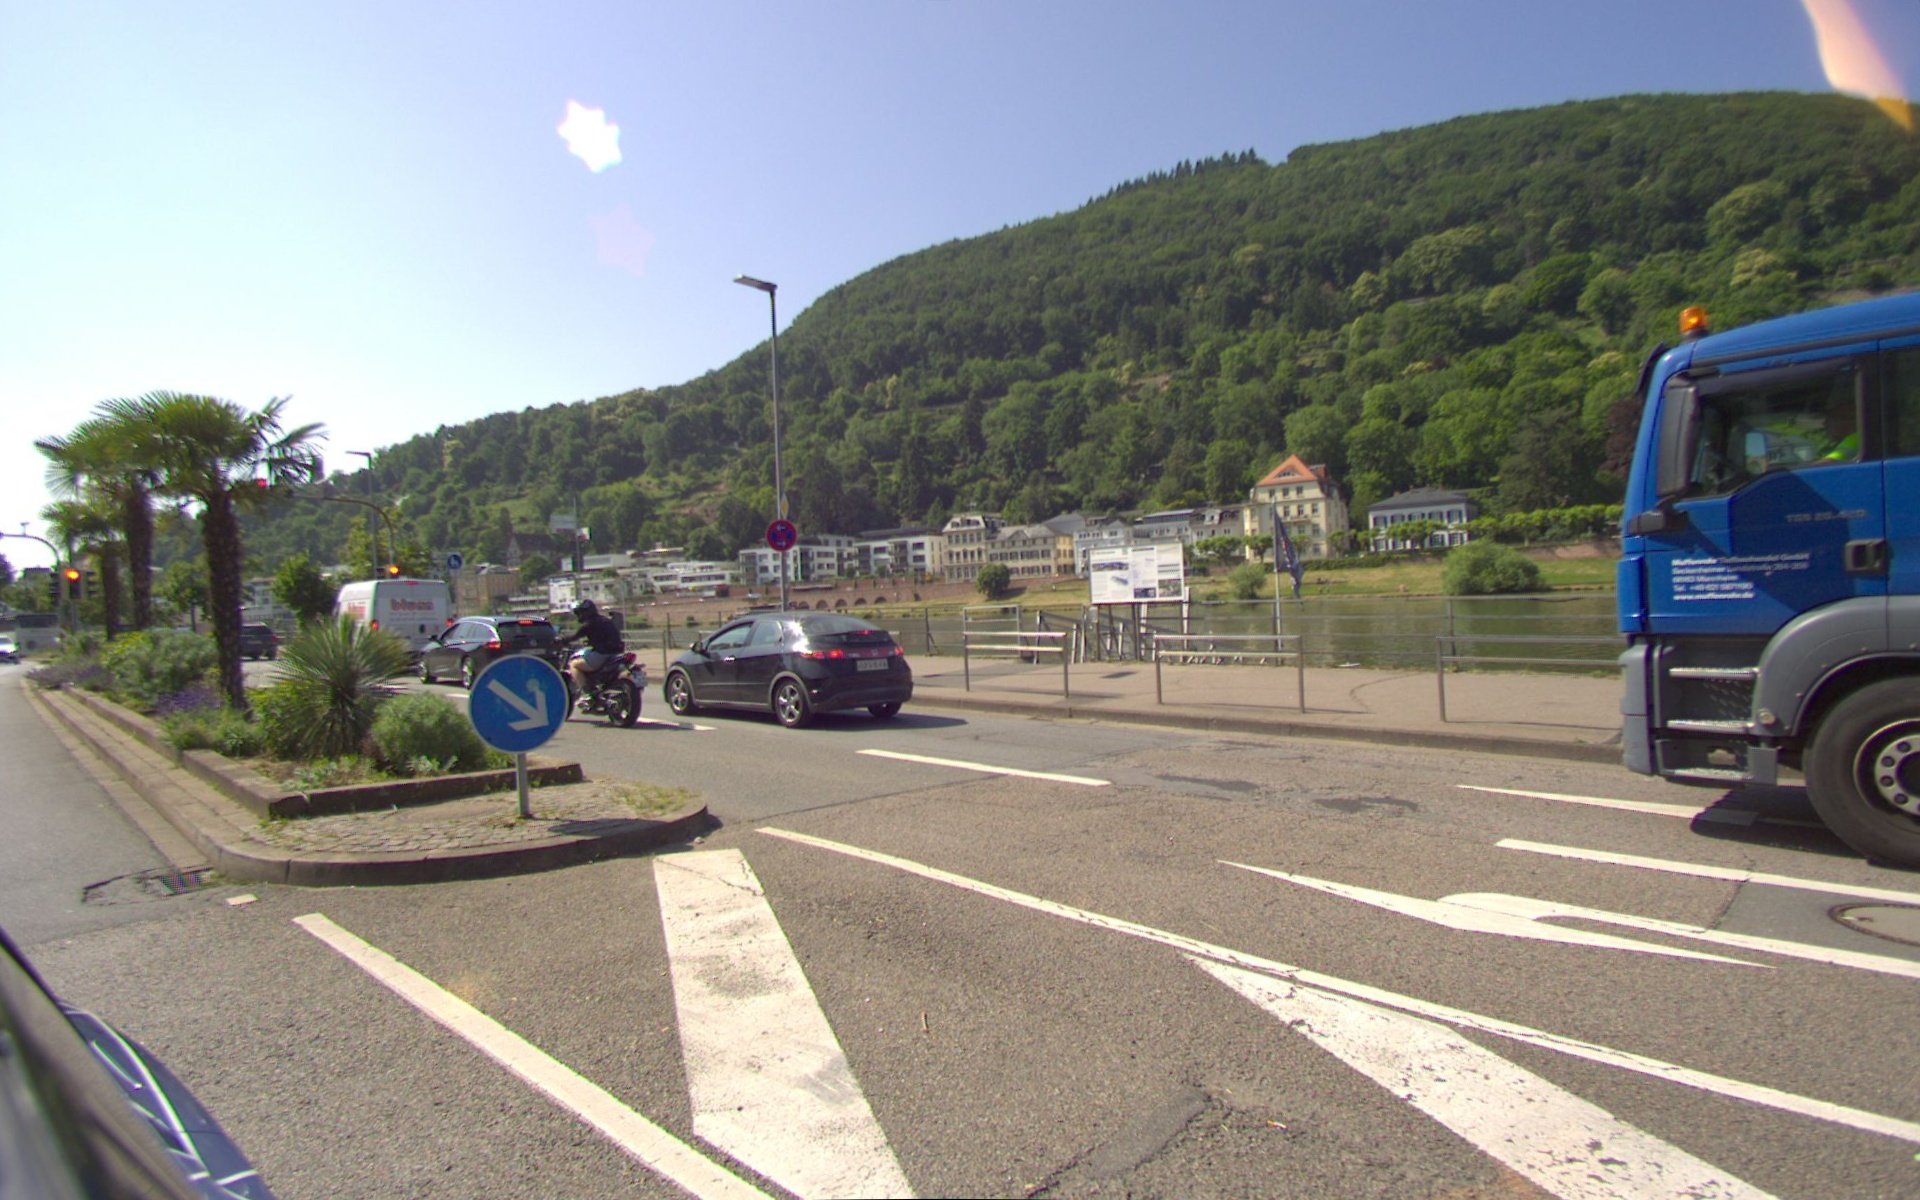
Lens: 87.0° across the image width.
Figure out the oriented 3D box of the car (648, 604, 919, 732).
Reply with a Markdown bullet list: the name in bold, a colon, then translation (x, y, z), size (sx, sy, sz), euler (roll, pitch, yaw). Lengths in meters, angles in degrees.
- **car**: translation (-2.528, 0.823, 13.829), size (1.638, 1.447, 4.084), euler (-2, 0, -44)

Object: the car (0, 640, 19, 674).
- **car**: translation (-45.910, 2.711, 47.857), size (1.970, 1.517, 4.595), euler (-2, -1, -44)

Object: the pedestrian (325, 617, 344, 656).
- **pedestrian**: translation (-28.252, 1.647, 45.722), size (0.503, 1.765, 0.585), euler (-2, -1, 42)

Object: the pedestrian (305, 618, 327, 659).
- **pedestrian**: translation (-28.691, 1.703, 45.075), size (0.780, 1.765, 0.585), euler (-2, -1, 42)

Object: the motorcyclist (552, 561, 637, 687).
- **motorcyclist**: translation (-4.646, 0.293, 12.859), size (0.693, 1.538, 0.862), euler (-2, 0, -44)

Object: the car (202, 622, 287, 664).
- **car**: translation (-28.524, 1.693, 40.305), size (4.263, 1.463, 1.971), euler (-2, 1, 45)

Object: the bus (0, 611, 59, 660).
- **bus**: translation (-70.656, 2.683, 75.784), size (10.774, 3.413, 2.625), euler (-2, 0, 37)

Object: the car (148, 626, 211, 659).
- **car**: translation (-38.921, 2.079, 50.418), size (1.970, 1.469, 4.647), euler (-2, 0, -44)

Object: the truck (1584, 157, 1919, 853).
- **truck**: translation (8.636, -0.595, 3.071), size (2.612, 3.502, 11.114), euler (-2, 0, -44)

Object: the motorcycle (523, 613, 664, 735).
- **motorcycle**: translation (-4.743, 0.896, 12.982), size (0.718, 1.397, 2.513), euler (-2, 0, -44)

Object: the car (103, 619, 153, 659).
- **car**: translation (-49.346, 2.289, 59.987), size (1.843, 2.165, 5.026), euler (-2, 0, -44)

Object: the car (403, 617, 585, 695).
- **car**: translation (-10.116, 1.132, 21.756), size (1.971, 1.429, 4.923), euler (-2, 0, -45)

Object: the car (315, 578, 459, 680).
- **car**: translation (-15.752, 0.805, 27.708), size (4.750, 2.545, 2.170), euler (-2, -2, 44)
